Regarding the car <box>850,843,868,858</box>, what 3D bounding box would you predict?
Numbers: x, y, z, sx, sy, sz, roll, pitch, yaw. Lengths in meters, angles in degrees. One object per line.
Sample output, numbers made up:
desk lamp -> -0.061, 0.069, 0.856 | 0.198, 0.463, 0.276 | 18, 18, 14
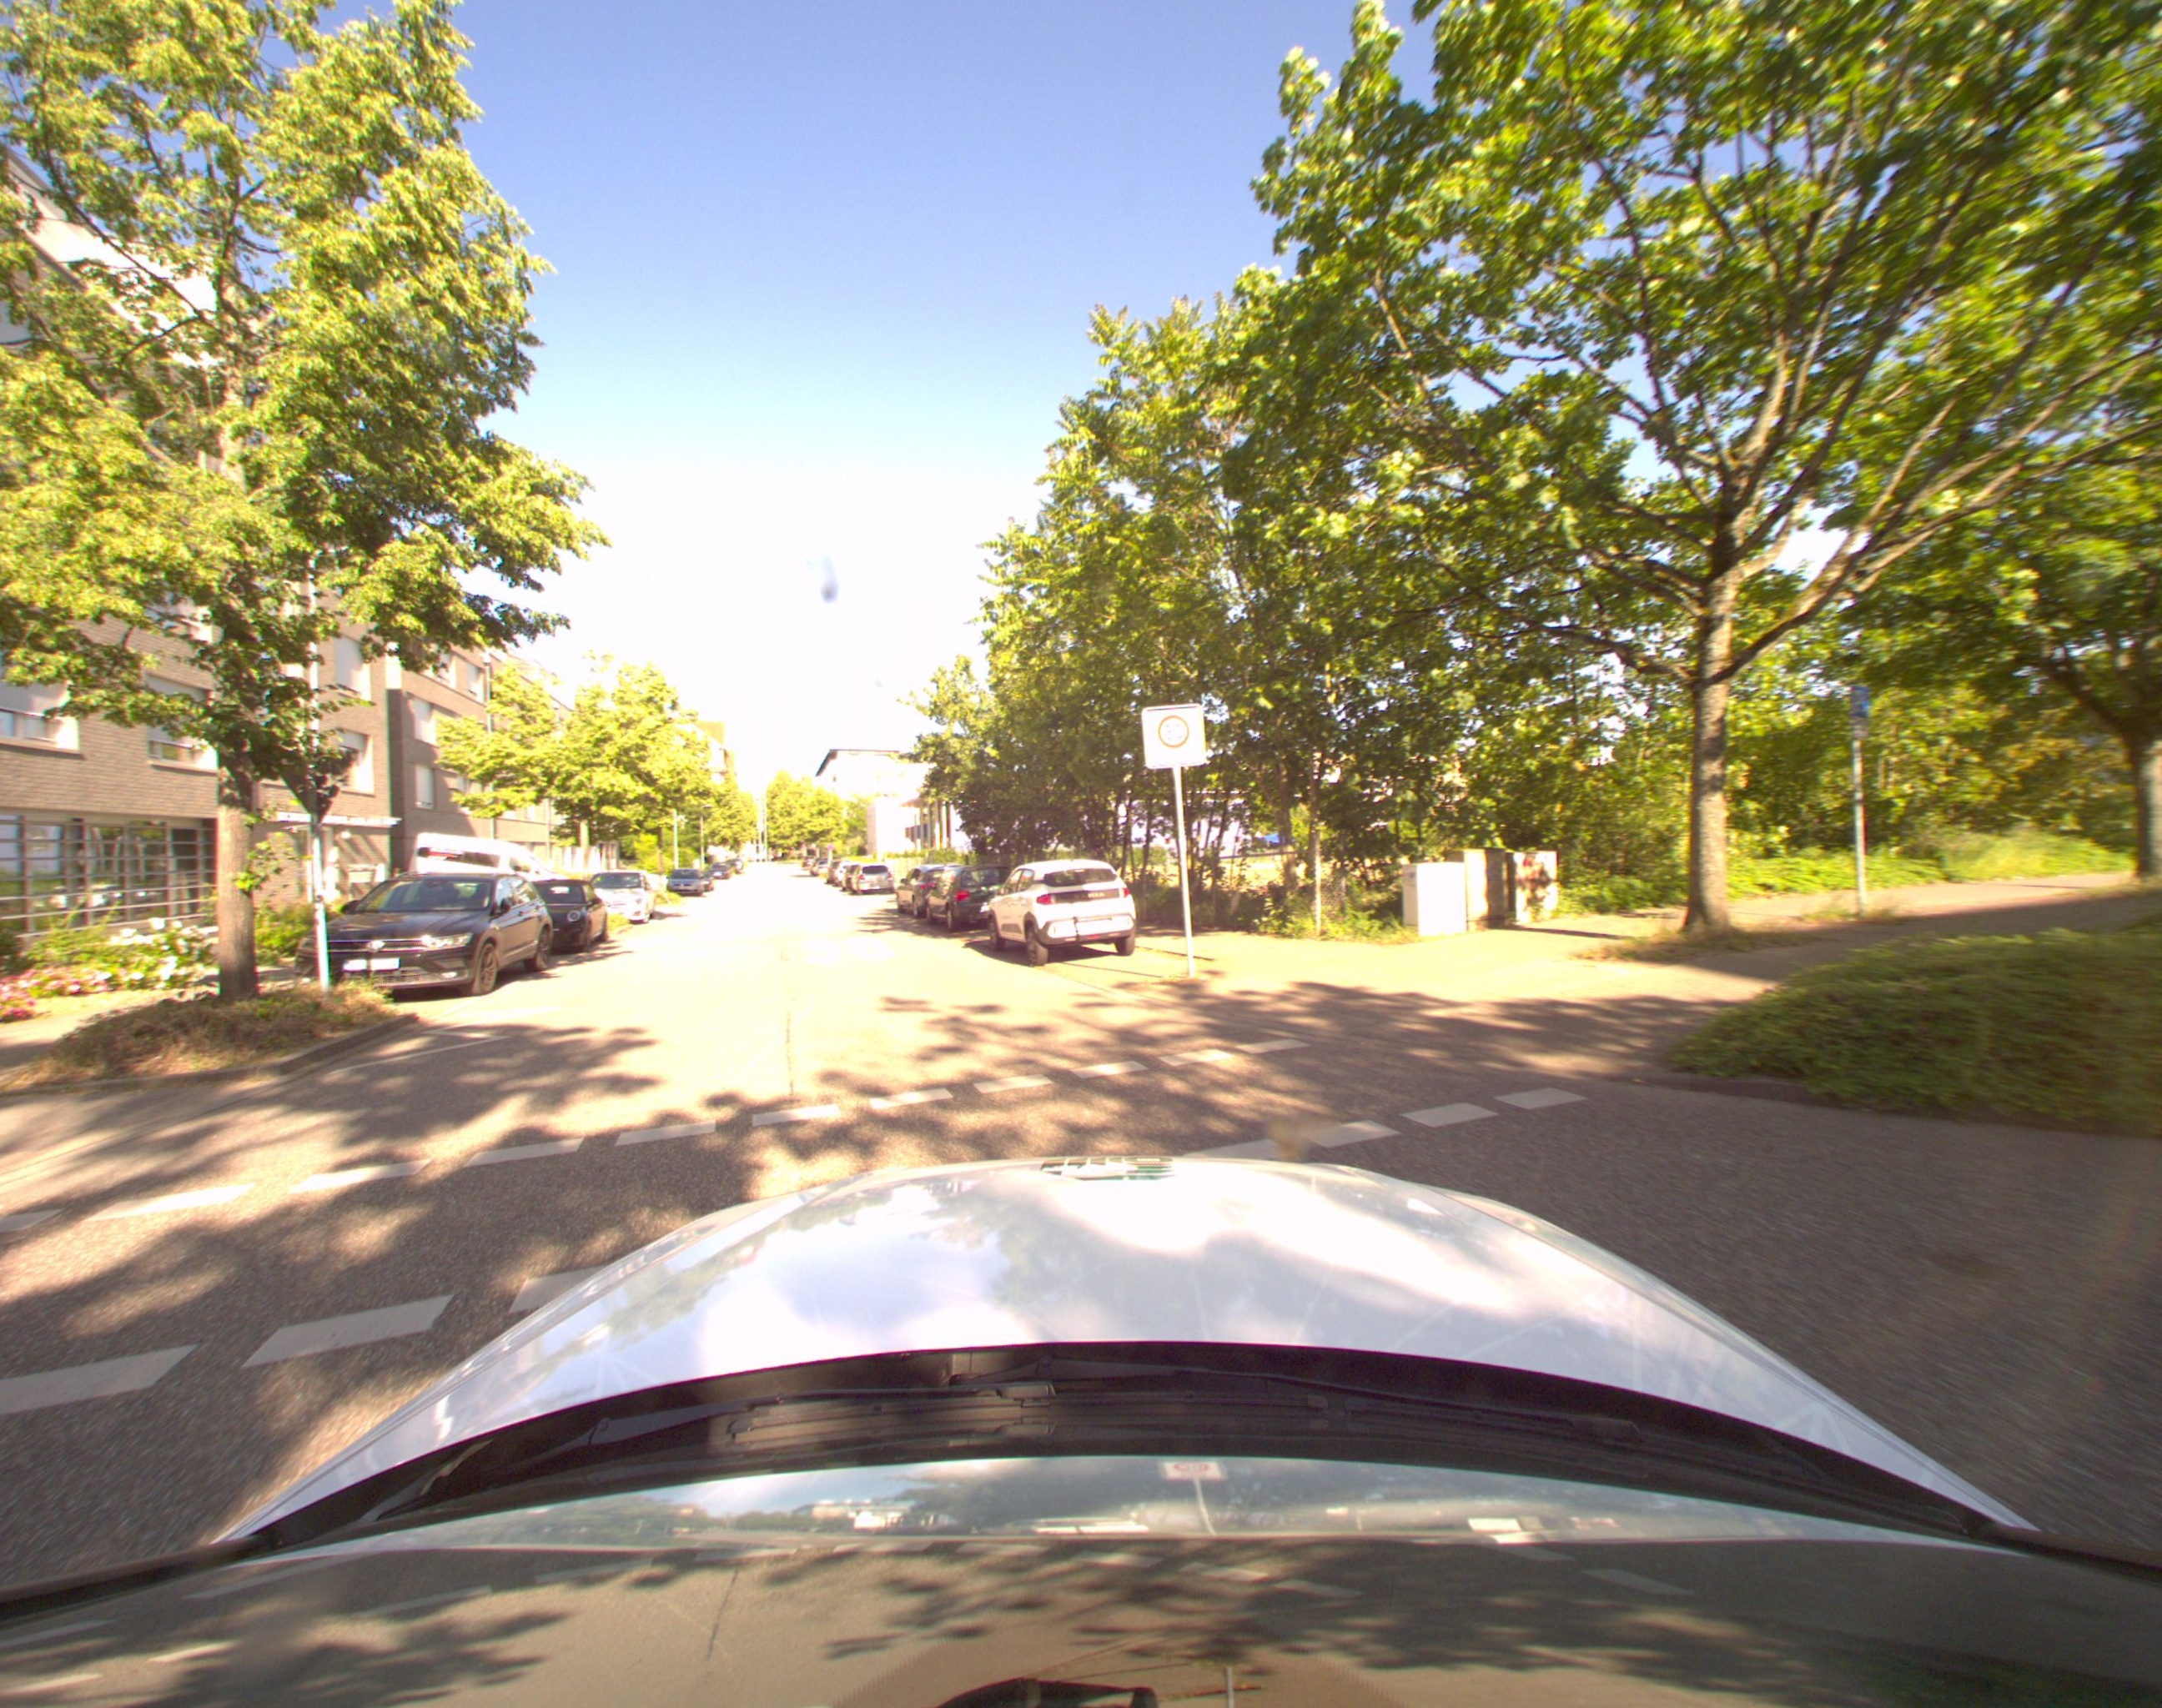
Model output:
car -> -31.551, -0.438, 115.549 | 2.001, 2.013, 3.972 | -2, 1, -21

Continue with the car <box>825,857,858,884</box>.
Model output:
car -> -16.430, 1.096, 55.714 | 1.733, 1.652, 4.295 | -4, 1, -21

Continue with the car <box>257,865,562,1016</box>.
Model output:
car -> -9.062, 1.022, 11.522 | 1.893, 1.619, 4.310 | -2, 0, -19

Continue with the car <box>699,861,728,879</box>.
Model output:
car -> -31.614, 1.355, 70.131 | 1.766, 1.527, 3.976 | 1, -1, -17

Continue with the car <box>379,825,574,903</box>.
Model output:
car -> -23.037, 0.435, 31.368 | 5.470, 2.384, 1.906 | 7, -3, -25

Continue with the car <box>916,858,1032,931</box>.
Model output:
car -> -2.630, 0.884, 19.241 | 1.831, 1.472, 4.040 | -2, 0, -21

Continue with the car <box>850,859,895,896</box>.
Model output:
car -> -10.050, 1.080, 39.170 | 1.668, 1.512, 3.973 | -2, 1, -20

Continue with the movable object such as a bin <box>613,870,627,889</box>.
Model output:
movable object such as a bin -> -27.785, 1.551, 49.098 | 0.610, 1.090, 0.632 | -2, 1, -22

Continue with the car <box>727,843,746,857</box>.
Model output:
car -> -40.787, -0.474, 96.508 | 1.784, 1.530, 3.972 | -2, 0, -21

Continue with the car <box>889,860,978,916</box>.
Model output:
car -> -4.393, 0.924, 23.745 | 1.683, 1.437, 4.406 | -2, 0, -22

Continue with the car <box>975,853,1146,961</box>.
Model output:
car -> -0.515, 0.782, 13.408 | 1.625, 1.451, 4.063 | -2, -1, -19

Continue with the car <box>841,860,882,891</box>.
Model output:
car -> -11.766, 1.122, 43.524 | 1.694, 1.494, 4.049 | -2, 0, -21

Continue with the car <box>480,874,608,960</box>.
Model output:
car -> -11.081, 1.212, 17.048 | 1.585, 1.504, 3.760 | -2, 0, -24

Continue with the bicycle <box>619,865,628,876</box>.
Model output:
bicycle -> -37.728, 1.335, 67.181 | 0.254, 0.837, 1.764 | -1, 1, -18

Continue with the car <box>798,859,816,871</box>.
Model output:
car -> -35.953, 1.432, 106.853 | 2.001, 1.486, 3.972 | -2, 0, -21

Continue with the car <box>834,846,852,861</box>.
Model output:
car -> -33.473, -0.065, 114.509 | 2.031, 2.013, 3.972 | -2, 0, -21

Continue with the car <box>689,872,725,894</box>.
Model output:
car -> -22.374, 1.707, 48.799 | 1.604, 1.217, 3.849 | 0, 0, -20

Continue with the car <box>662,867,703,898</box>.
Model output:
car -> -21.222, 1.505, 43.483 | 1.617, 1.465, 3.846 | -2, 0, -22

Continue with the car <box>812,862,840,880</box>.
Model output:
car -> -22.806, 1.546, 72.857 | 1.838, 1.422, 4.199 | -5, 1, -24

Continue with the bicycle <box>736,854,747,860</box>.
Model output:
bicycle -> -50.184, 0.473, 120.429 | 1.474, 0.842, 0.333 | -2, 1, -25

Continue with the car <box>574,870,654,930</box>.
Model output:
car -> -14.159, 1.330, 24.900 | 1.667, 1.532, 4.252 | -2, 1, -24

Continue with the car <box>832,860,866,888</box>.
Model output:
car -> -14.537, 1.192, 50.939 | 1.686, 1.542, 3.822 | -2, 1, -21
